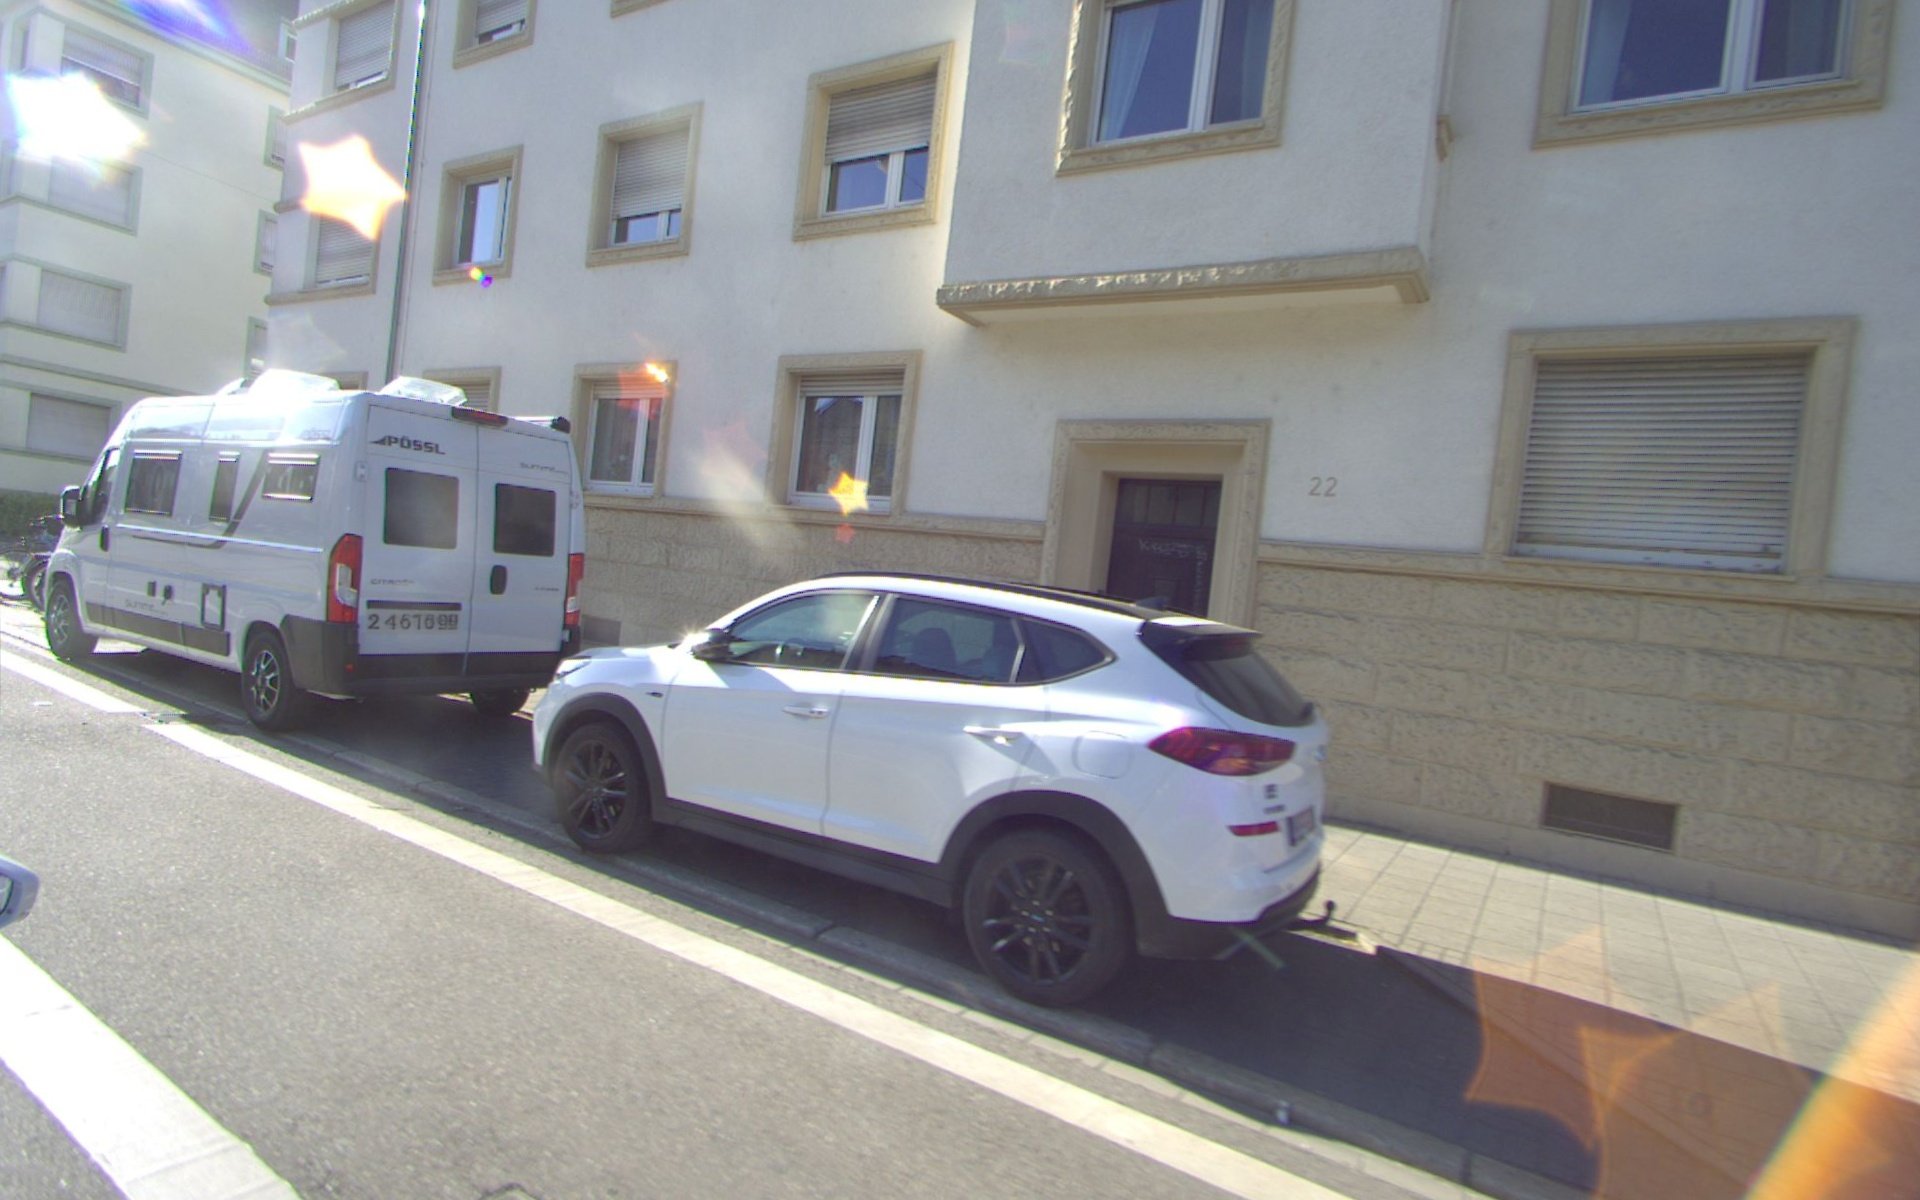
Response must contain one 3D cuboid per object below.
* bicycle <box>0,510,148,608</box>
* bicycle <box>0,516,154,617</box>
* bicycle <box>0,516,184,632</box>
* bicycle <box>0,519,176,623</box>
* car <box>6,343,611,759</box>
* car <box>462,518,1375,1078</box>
[{"bbox_3d":[-11.889,-0.544,13.176,1.887,1.102,0.472,5,4,-15],"label":"bicycle"},{"bbox_3d":[-11.443,-0.440,12.716,1.887,1.101,0.472,5,3,-15],"label":"bicycle"},{"bbox_3d":[-10.490,-0.312,11.834,1.998,1.099,0.485,9,-1,-16],"label":"bicycle"},{"bbox_3d":[-10.854,-0.351,12.306,1.887,1.100,0.473,5,-1,-15],"label":"bicycle"},{"bbox_3d":[-6.173,-0.598,9.153,6.188,2.733,2.150,7,3,32],"label":"car"},{"bbox_3d":[-0.394,0.632,5.403,4.498,1.659,1.849,7,2,30],"label":"car"}]
